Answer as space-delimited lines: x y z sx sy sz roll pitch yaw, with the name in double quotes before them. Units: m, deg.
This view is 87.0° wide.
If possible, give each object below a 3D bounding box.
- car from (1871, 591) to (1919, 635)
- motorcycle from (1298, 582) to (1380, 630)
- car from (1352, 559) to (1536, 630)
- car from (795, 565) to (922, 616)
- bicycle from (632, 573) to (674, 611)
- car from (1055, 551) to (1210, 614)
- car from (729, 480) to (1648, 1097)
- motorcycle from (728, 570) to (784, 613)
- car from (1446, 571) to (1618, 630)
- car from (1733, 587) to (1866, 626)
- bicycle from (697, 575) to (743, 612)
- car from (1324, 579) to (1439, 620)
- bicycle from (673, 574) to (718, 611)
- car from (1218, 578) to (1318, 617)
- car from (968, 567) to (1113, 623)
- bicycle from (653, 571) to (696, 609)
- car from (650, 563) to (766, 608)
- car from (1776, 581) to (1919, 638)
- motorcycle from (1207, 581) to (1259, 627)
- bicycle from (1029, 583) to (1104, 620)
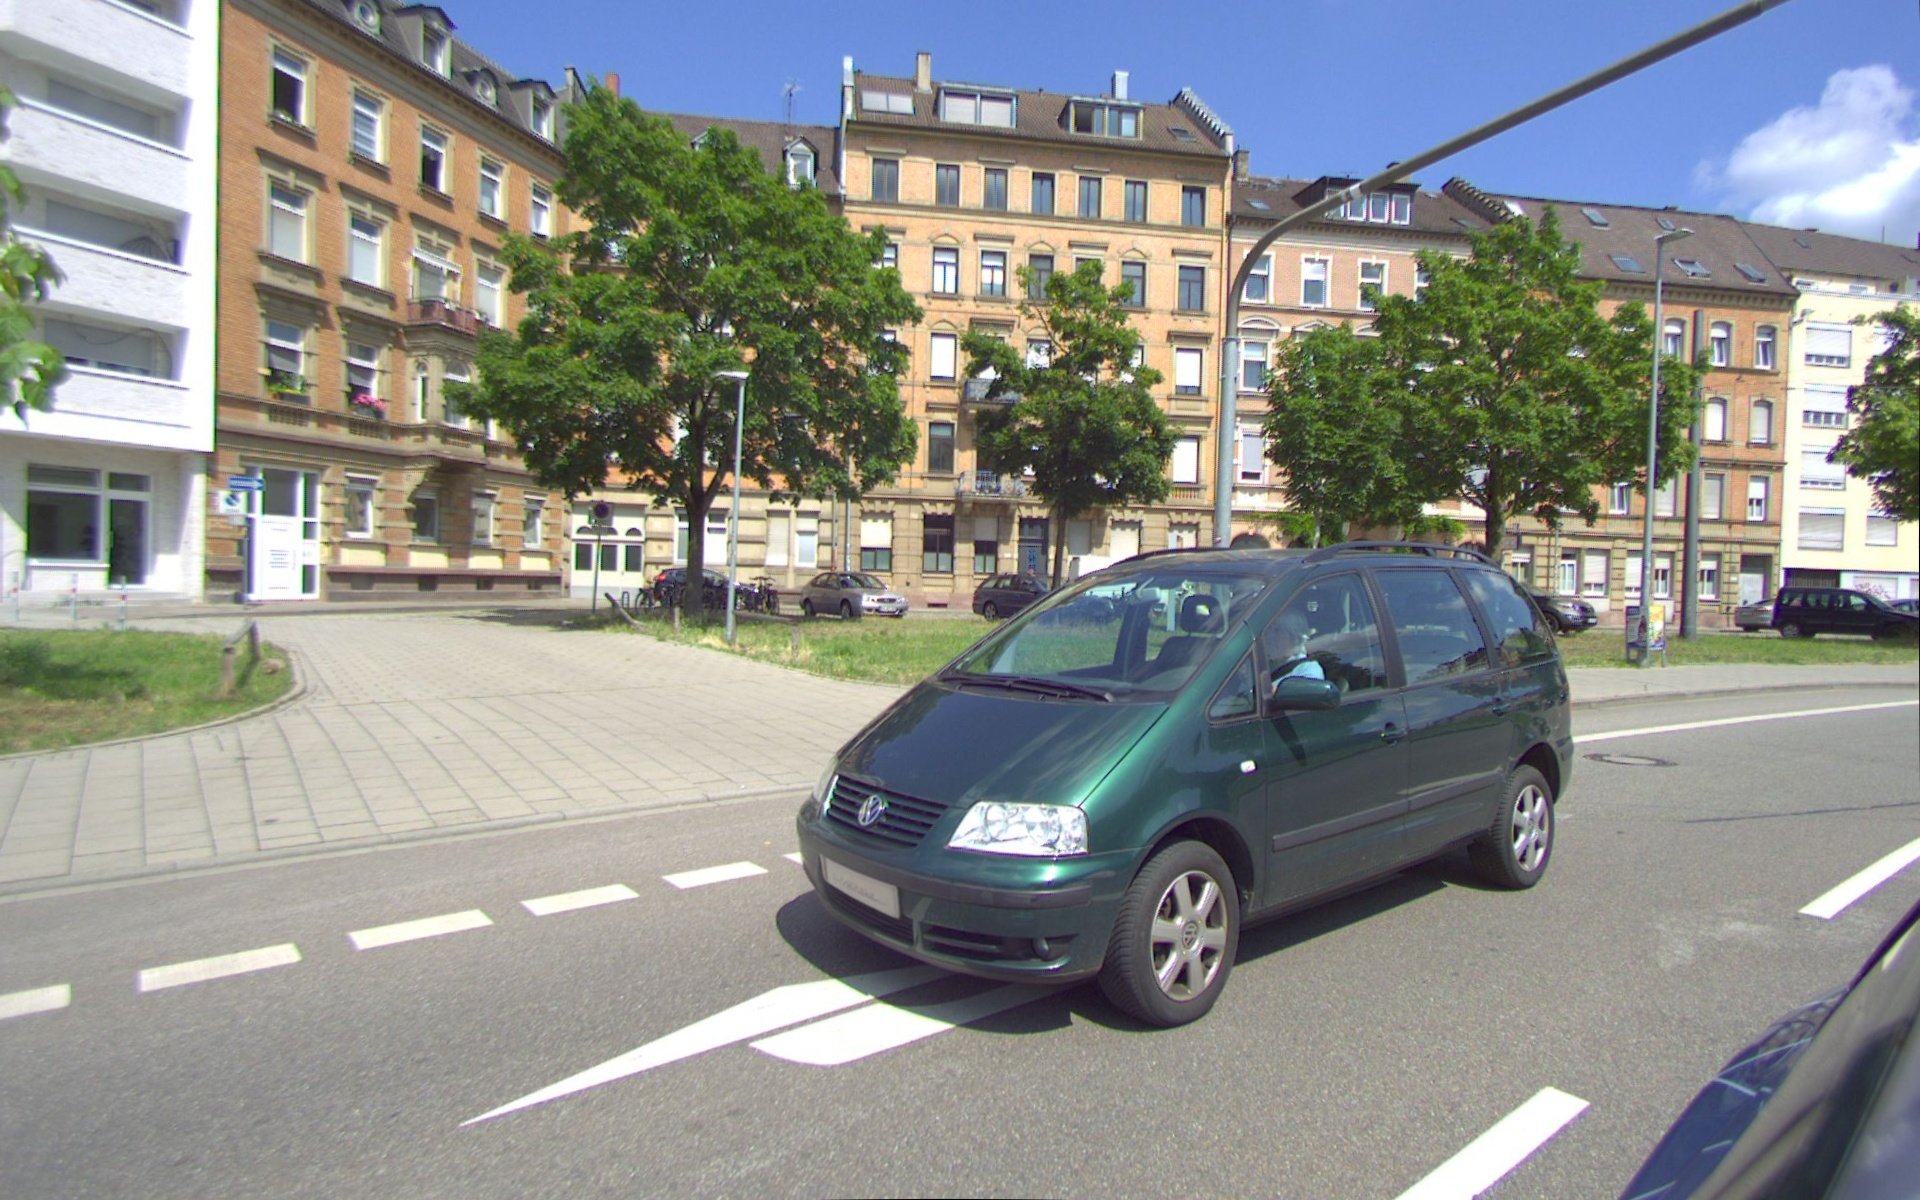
"car" 32.529 0.434 32.972 1.820 1.423 4.078 1 0 -42
"motorcycle" 9.891 0.151 26.442 1.873 1.181 0.639 1 1 6
"car" 14.425 -0.170 30.398 1.881 1.952 4.627 1 0 -37
"car" -2.827 -0.257 27.457 1.826 1.260 4.168 1 0 -31
"bicycle" -8.234 -0.215 27.106 0.533 0.981 2.394 1 0 -30
"car" 6.398 -0.637 37.827 5.284 2.206 2.120 1 0 -6
"car" 1.512 0.547 5.152 4.938 1.779 1.824 0 0 -37
"motorcycle" -5.753 -0.232 28.402 0.796 1.139 2.394 1 0 -30
"car" 17.337 0.010 30.843 1.879 1.677 4.176 1 0 -33
"car" 34.446 0.244 41.575 4.141 1.510 1.840 1 0 -6
"bicycle" -6.667 -0.187 28.030 0.533 0.968 2.394 1 0 -30
"car" 16.334 -0.014 39.319 3.775 1.510 1.666 1 0 -6
"bicycle" -7.258 -0.202 27.688 0.533 0.981 2.394 1 0 -30
"car" 11.755 -0.110 38.764 3.284 1.420 1.570 1 1 -4
"car" 2.206 -0.172 28.927 1.771 1.445 4.259 1 1 -36
"bicycle" -7.755 -0.267 27.401 0.533 0.981 2.394 1 0 -30
"car" -8.862 -0.493 35.853 3.775 1.510 1.666 1 0 -6
"car" 29.474 0.281 32.993 1.818 1.763 4.148 1 0 -37
"motorcycle" 7.220 0.084 26.854 0.627 1.181 1.792 1 1 -8
"bicycle" 2.683 0.034 25.567 1.783 0.913 0.545 1 0 -10
